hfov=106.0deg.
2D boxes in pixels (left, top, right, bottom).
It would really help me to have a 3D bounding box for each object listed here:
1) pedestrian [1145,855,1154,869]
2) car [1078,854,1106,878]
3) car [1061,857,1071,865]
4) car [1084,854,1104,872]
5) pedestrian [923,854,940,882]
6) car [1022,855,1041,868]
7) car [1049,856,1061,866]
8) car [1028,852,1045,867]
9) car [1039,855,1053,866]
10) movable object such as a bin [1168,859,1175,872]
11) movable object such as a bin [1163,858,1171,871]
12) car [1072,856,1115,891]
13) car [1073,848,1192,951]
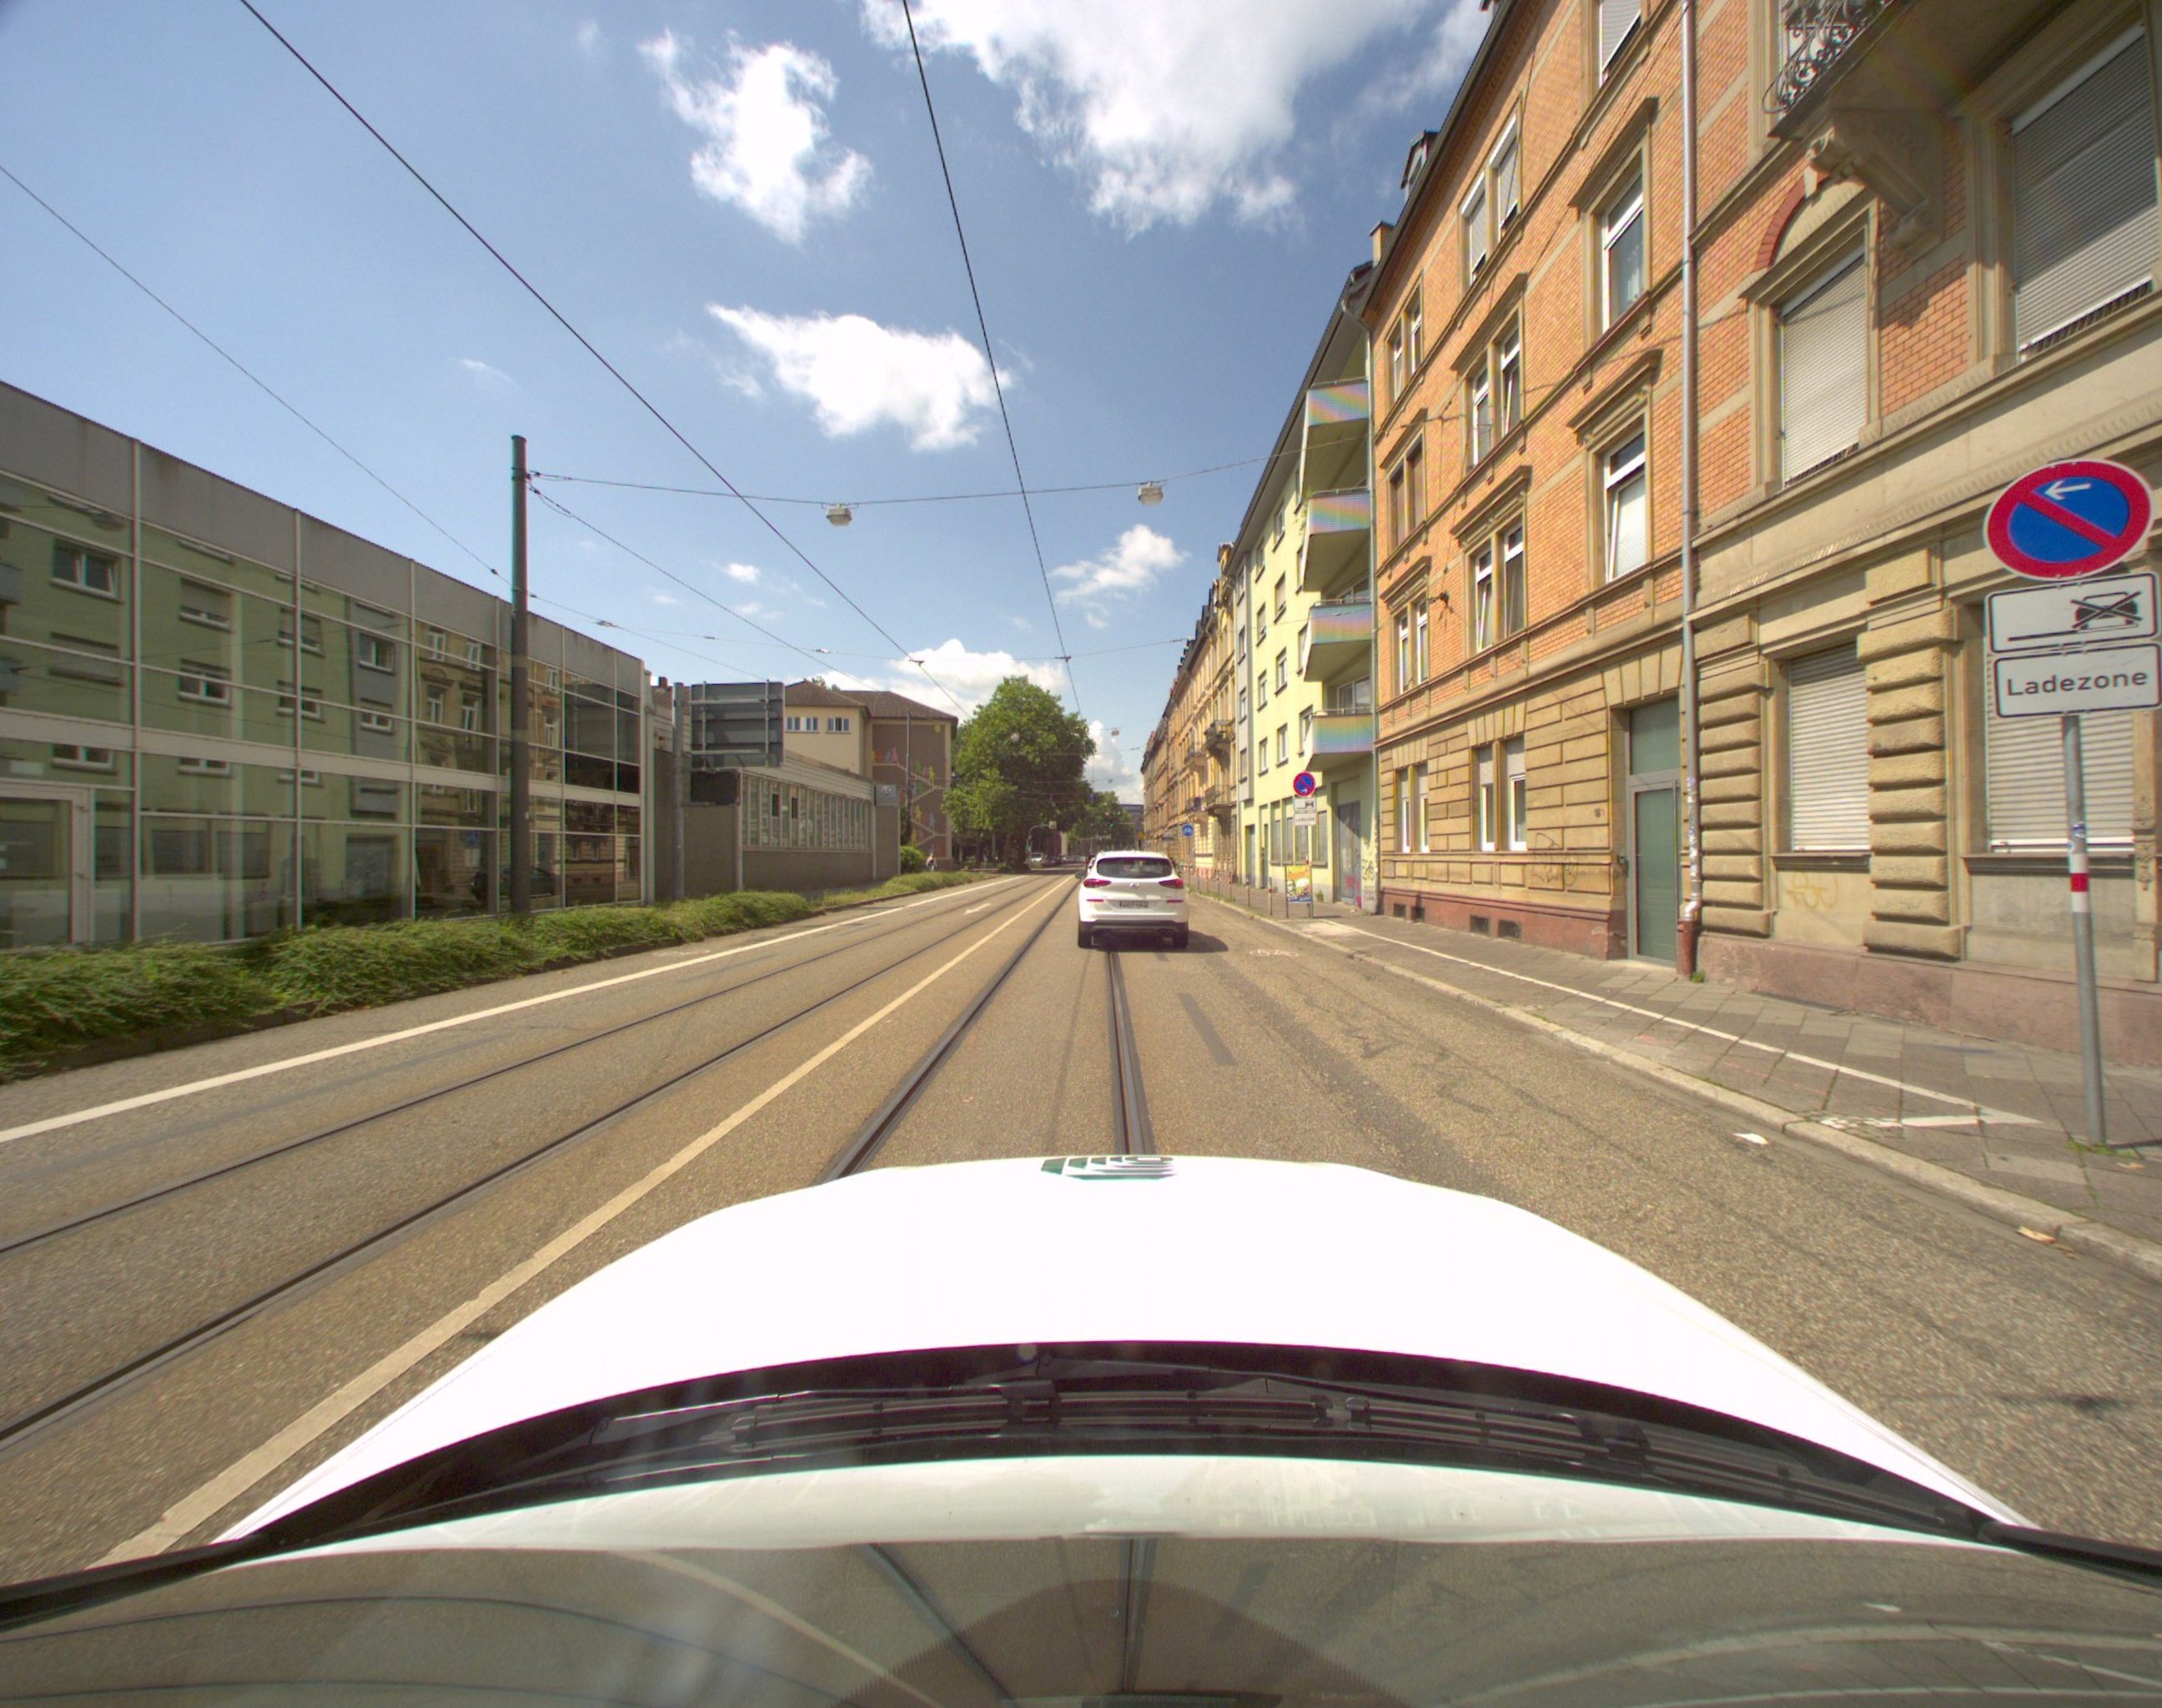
[{"bbox_3d":[7.844,0.958,93.611,0.934,1.573,1.050,0,0,1],"label":"pedestrian"},{"bbox_3d":[0.791,0.794,54.333,1.808,1.524,3.957,0,0,1],"label":"car"},{"bbox_3d":[-3.191,1.512,172.405,1.944,1.632,3.998,0,0,-1],"label":"car"},{"bbox_3d":[1.187,0.819,75.057,1.808,1.662,4.086,-1,0,1],"label":"car"},{"bbox_3d":[-10.380,0.949,56.556,0.877,1.866,1.081,-2,0,1],"label":"pedestrian"},{"bbox_3d":[-6.194,0.934,102.318,1.943,1.632,4.577,0,0,1],"label":"car"},{"bbox_3d":[-4.447,1.232,141.161,1.944,1.632,3.998,0,0,-1],"label":"car"},{"bbox_3d":[-5.923,0.752,108.053,1.943,1.895,4.566,0,0,1],"label":"car"},{"bbox_3d":[-5.247,1.021,123.463,1.944,1.632,3.998,0,0,-1],"label":"car"},{"bbox_3d":[8.008,1.023,72.158,0.610,1.143,0.639,0,0,1],"label":"movable object such as a bin"},{"bbox_3d":[7.781,0.941,73.593,0.610,1.143,0.639,0,0,1],"label":"movable object such as a bin"},{"bbox_3d":[0.628,0.851,37.300,1.807,1.524,4.087,-1,0,2],"label":"car"},{"bbox_3d":[0.805,0.731,15.064,1.847,1.634,4.178,1,0,-1],"label":"car"}]
